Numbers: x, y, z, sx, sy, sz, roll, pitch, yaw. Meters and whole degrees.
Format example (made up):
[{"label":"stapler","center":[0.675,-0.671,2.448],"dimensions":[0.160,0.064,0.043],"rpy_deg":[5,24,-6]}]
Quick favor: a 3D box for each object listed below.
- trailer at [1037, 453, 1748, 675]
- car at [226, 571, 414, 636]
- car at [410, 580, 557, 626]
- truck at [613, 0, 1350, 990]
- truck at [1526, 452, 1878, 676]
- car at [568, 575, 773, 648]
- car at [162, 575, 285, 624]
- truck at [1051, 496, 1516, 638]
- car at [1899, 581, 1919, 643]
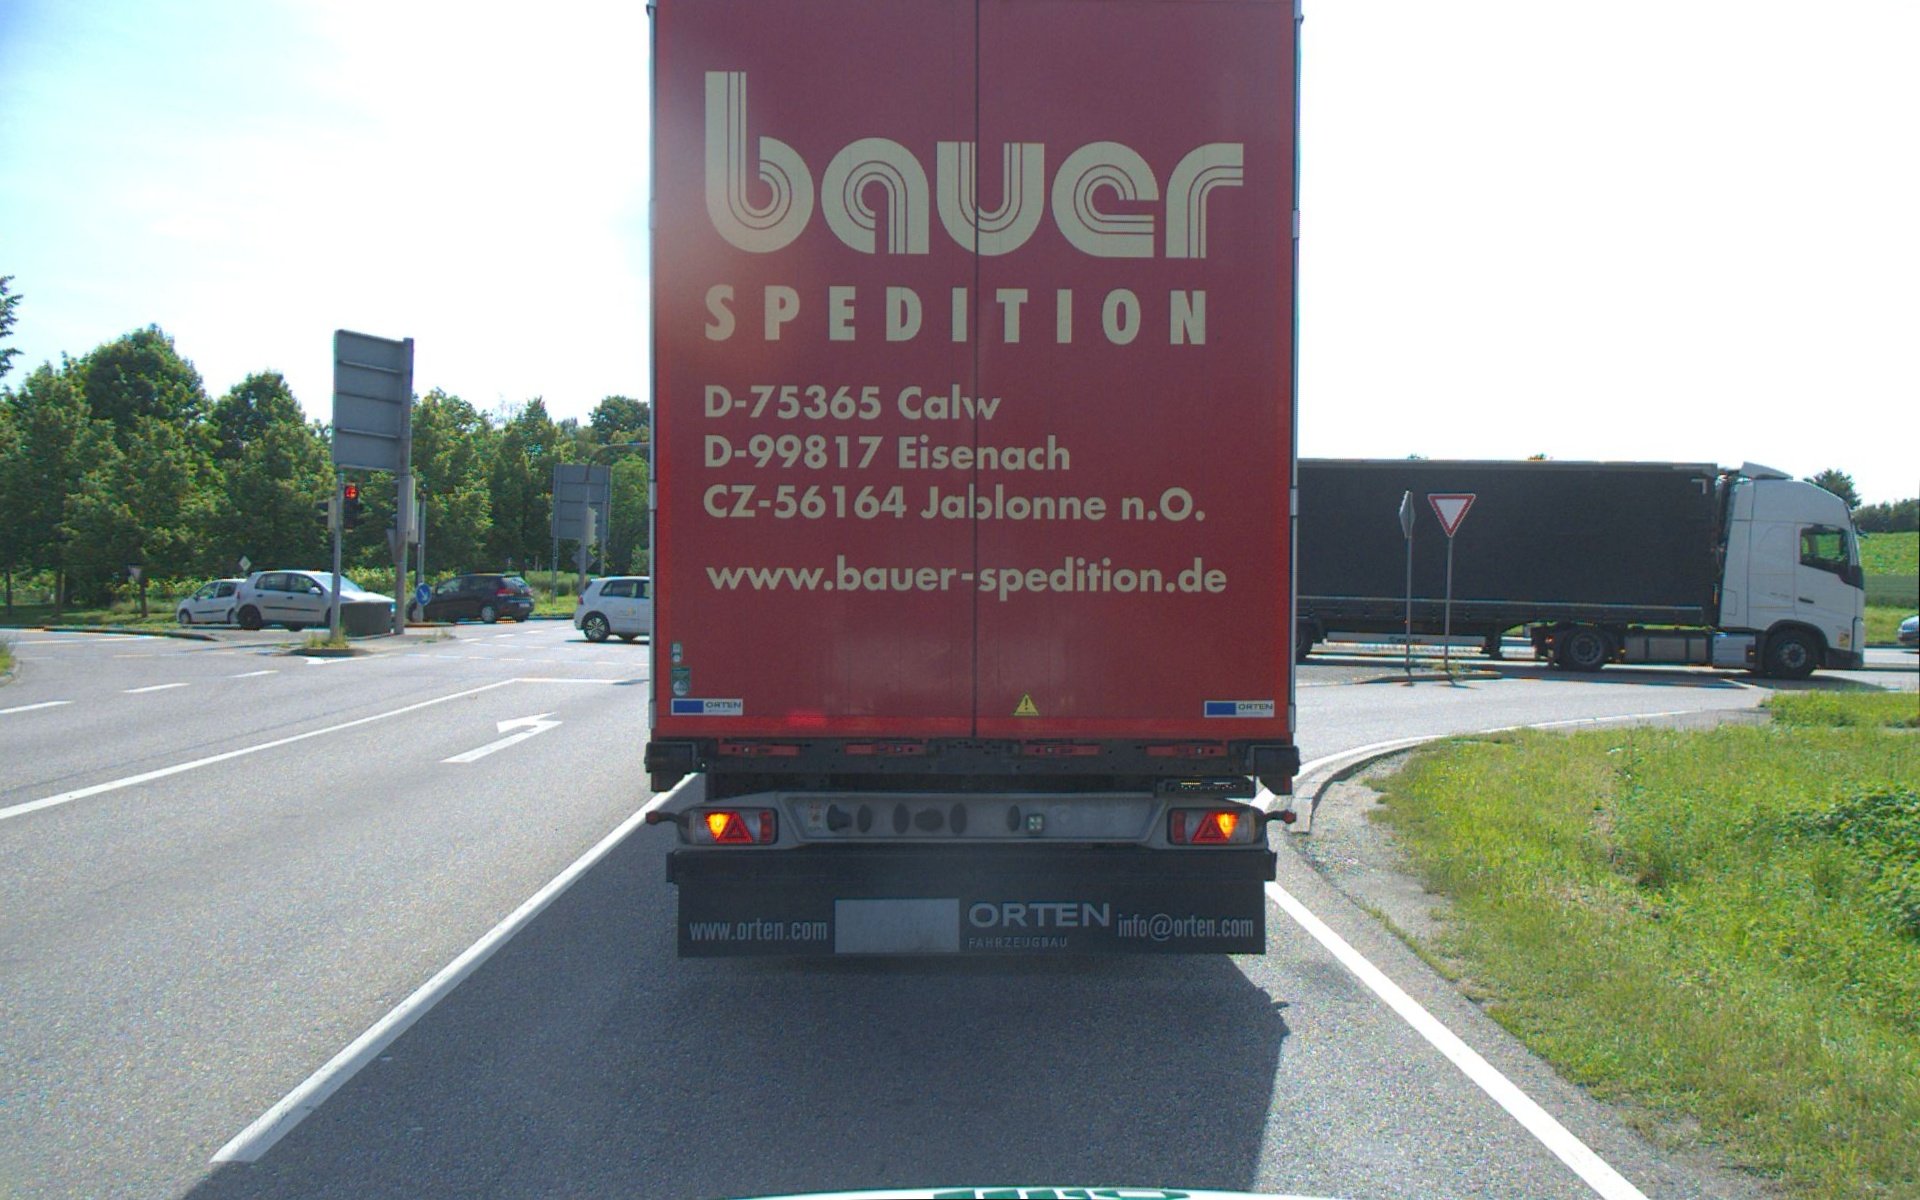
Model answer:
[{"label":"trailer","center":[8.441,-0.819,33.722],"dimensions":[13.392,4.132,2.801],"rpy_deg":[1,1,12]},{"label":"car","center":[-15.418,0.049,39.889],"dimensions":[3.949,1.441,1.796],"rpy_deg":[1,1,15]},{"label":"car","center":[-14.391,0.074,49.942],"dimensions":[4.184,1.328,1.740],"rpy_deg":[1,0,27]},{"label":"truck","center":[-0.069,-0.657,14.404],"dimensions":[2.679,3.993,16.622],"rpy_deg":[1,1,-1]},{"label":"truck","center":[14.414,-0.730,32.569],"dimensions":[5.701,4.132,2.801],"rpy_deg":[1,1,8]},{"label":"car","center":[-6.495,0.233,37.223],"dimensions":[4.156,1.486,1.811],"rpy_deg":[1,1,16]},{"label":"car","center":[-24.388,-0.043,54.789],"dimensions":[3.772,1.380,1.675],"rpy_deg":[2,4,26]},{"label":"truck","center":[9.858,-1.126,51.839],"dimensions":[14.008,4.049,3.024],"rpy_deg":[2,1,28]},{"label":"car","center":[27.129,0.382,43.601],"dimensions":[3.906,1.624,1.664],"rpy_deg":[2,0,22]}]
